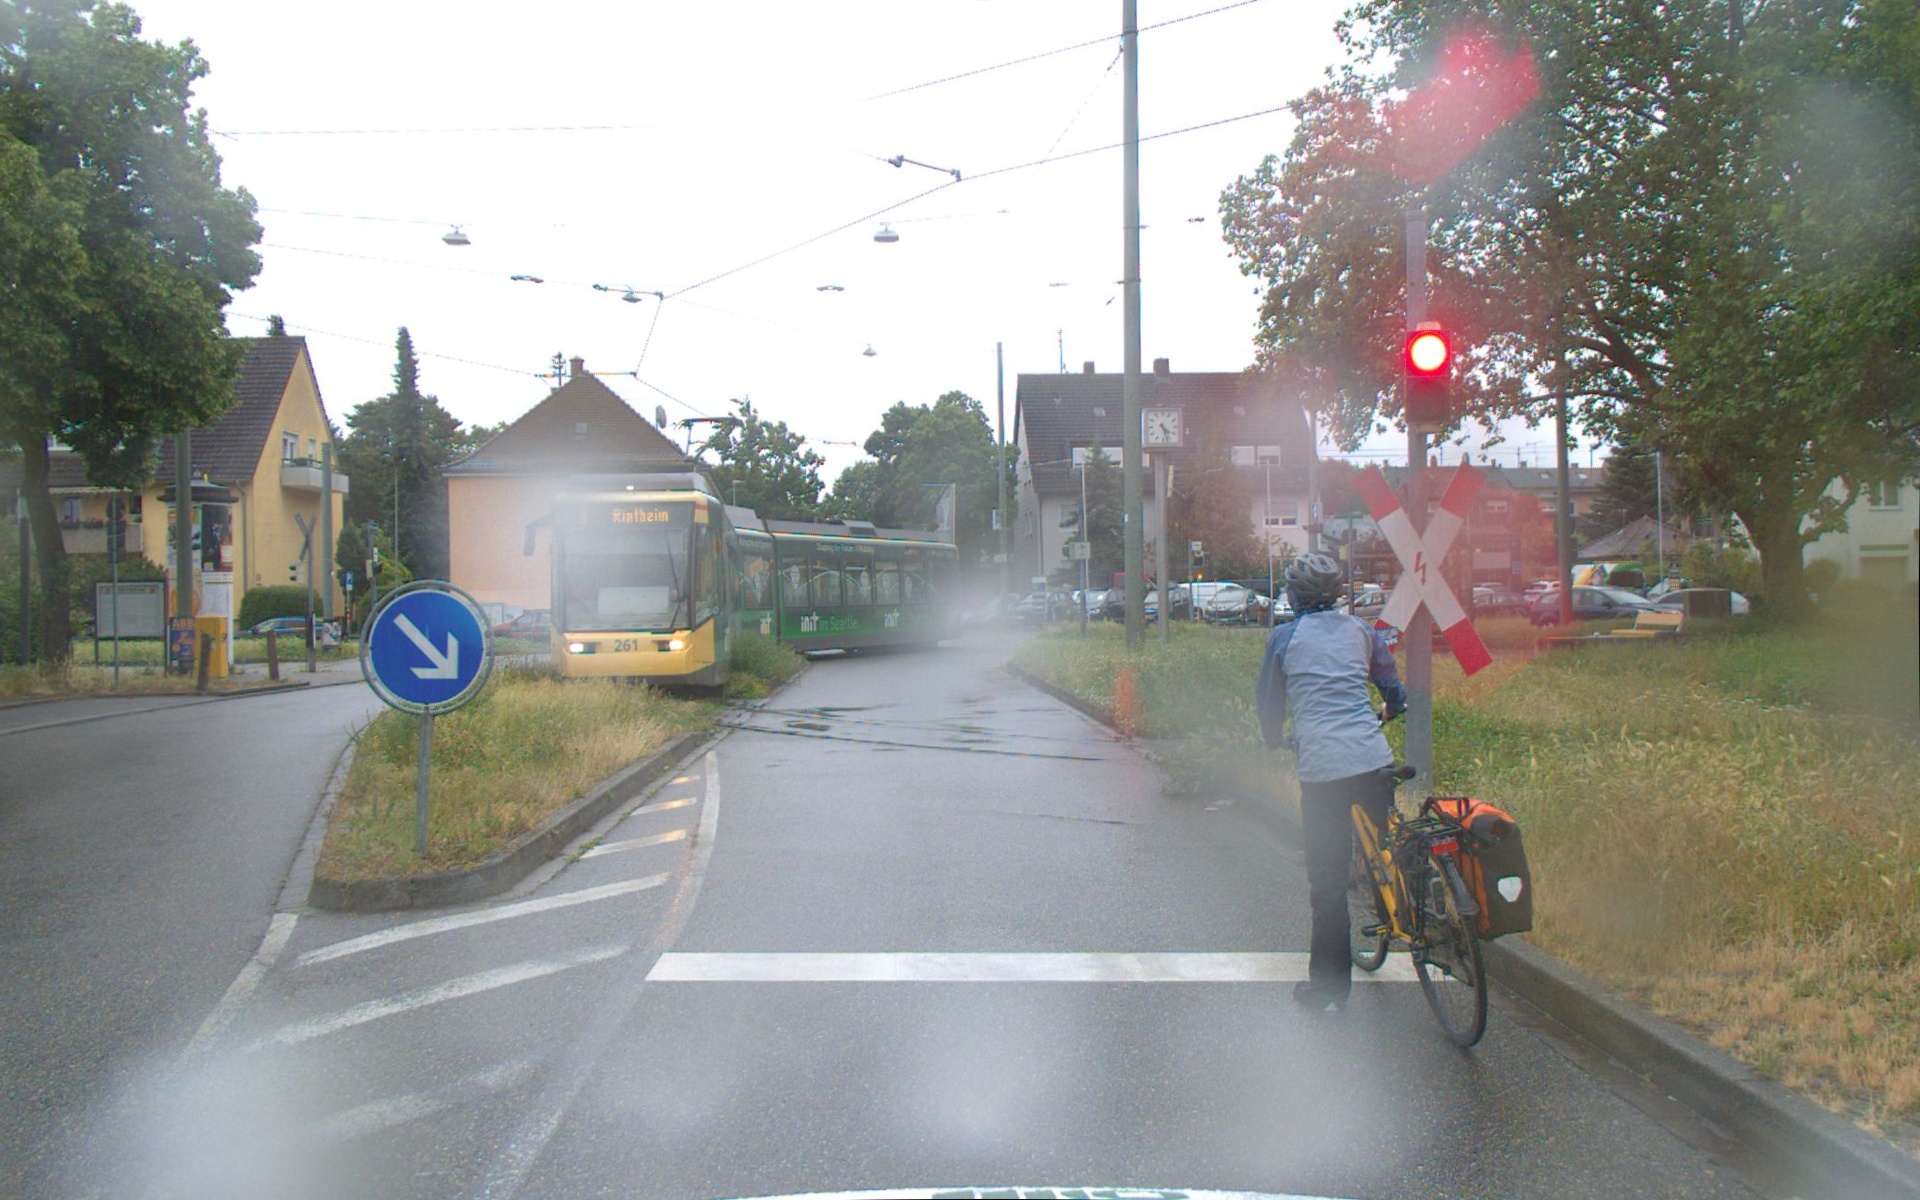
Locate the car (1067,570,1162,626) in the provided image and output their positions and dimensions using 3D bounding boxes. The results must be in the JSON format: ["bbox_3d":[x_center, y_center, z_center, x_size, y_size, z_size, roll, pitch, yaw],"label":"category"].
[{"bbox_3d":[7.480,-0.115,79.911,4.301,2.610,2.001,1,-1,14],"label":"car"}]

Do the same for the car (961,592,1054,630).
[{"bbox_3d":[2.225,0.507,76.883,3.956,1.705,1.974,1,-1,-37],"label":"car"}]

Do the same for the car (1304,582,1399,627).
[{"bbox_3d":[18.094,0.229,76.541,3.907,1.985,1.999,1,-1,-3],"label":"car"}]

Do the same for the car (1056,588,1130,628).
[{"bbox_3d":[5.803,0.367,71.603,1.954,1.668,3.997,1,0,24],"label":"car"}]

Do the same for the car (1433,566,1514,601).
[{"bbox_3d":[28.555,-0.904,92.063,3.904,1.822,2.000,1,0,2],"label":"car"}]

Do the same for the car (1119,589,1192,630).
[{"bbox_3d":[8.347,0.405,70.473,1.954,1.668,3.997,1,0,24],"label":"car"}]

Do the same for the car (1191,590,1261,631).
[{"bbox_3d":[11.401,0.460,70.738,1.954,1.668,3.997,1,0,24],"label":"car"}]

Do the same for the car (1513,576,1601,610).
[{"bbox_3d":[31.067,-0.356,86.072,3.905,1.668,1.846,1,0,-1],"label":"car"}]

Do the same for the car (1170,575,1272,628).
[{"bbox_3d":[12.018,0.065,76.412,4.307,2.365,1.999,1,-1,-3],"label":"car"}]

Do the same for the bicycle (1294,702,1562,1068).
[{"bbox_3d":[1.650,0.952,6.076,0.437,1.022,1.727,-1,1,-2],"label":"bicycle"}]

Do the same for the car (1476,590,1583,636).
[{"bbox_3d":[22.611,0.509,65.741,3.609,1.731,1.890,1,0,0],"label":"car"}]

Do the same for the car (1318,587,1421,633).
[{"bbox_3d":[16.153,0.394,65.341,3.609,1.731,1.890,1,0,0],"label":"car"}]

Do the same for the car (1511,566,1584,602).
[{"bbox_3d":[34.231,-0.907,96.415,1.963,2.049,3.978,1,0,-19],"label":"car"}]

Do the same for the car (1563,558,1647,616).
[{"bbox_3d":[28.826,-0.564,74.026,1.953,2.485,4.352,1,0,-2],"label":"car"}]

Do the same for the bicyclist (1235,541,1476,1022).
[{"bbox_3d":[1.442,0.632,6.152,0.653,1.654,0.852,1,-1,-2],"label":"bicyclist"}]

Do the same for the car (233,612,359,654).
[{"bbox_3d":[-24.440,1.202,60.958,3.911,1.482,1.831,1,0,-7],"label":"car"}]

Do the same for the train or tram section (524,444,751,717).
[{"bbox_3d":[-5.077,-0.302,28.236,2.707,3.615,12.187,-1,0,-6],"label":"train or tram section"}]

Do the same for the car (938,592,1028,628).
[{"bbox_3d":[1.127,0.507,79.935,3.956,1.672,1.974,1,-1,-37],"label":"car"}]

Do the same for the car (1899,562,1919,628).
[{"bbox_3d":[28.140,-0.112,45.528,3.703,1.829,1.798,1,-1,43],"label":"car"}]

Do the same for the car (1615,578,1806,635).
[{"bbox_3d":[18.470,0.151,40.860,3.902,1.308,1.847,1,0,6],"label":"car"}]

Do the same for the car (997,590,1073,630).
[{"bbox_3d":[3.337,0.444,72.810,1.954,1.668,3.997,1,0,24],"label":"car"}]

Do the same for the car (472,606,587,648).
[{"bbox_3d":[-16.185,1.019,62.329,3.911,1.482,1.831,1,0,-7],"label":"car"}]

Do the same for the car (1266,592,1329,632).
[{"bbox_3d":[14.562,0.517,71.176,1.804,1.668,3.997,1,0,24],"label":"car"}]

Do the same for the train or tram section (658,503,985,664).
[{"bbox_3d":[-3.122,-0.458,43.817,2.705,3.615,13.128,-1,1,23],"label":"train or tram section"}]

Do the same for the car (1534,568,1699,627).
[{"bbox_3d":[18.017,-0.073,45.497,3.848,1.522,1.798,1,-1,43],"label":"car"}]

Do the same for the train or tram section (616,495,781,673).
[{"bbox_3d":[-5.641,-0.345,36.496,2.703,3.615,4.989,-1,0,1],"label":"train or tram section"}]
